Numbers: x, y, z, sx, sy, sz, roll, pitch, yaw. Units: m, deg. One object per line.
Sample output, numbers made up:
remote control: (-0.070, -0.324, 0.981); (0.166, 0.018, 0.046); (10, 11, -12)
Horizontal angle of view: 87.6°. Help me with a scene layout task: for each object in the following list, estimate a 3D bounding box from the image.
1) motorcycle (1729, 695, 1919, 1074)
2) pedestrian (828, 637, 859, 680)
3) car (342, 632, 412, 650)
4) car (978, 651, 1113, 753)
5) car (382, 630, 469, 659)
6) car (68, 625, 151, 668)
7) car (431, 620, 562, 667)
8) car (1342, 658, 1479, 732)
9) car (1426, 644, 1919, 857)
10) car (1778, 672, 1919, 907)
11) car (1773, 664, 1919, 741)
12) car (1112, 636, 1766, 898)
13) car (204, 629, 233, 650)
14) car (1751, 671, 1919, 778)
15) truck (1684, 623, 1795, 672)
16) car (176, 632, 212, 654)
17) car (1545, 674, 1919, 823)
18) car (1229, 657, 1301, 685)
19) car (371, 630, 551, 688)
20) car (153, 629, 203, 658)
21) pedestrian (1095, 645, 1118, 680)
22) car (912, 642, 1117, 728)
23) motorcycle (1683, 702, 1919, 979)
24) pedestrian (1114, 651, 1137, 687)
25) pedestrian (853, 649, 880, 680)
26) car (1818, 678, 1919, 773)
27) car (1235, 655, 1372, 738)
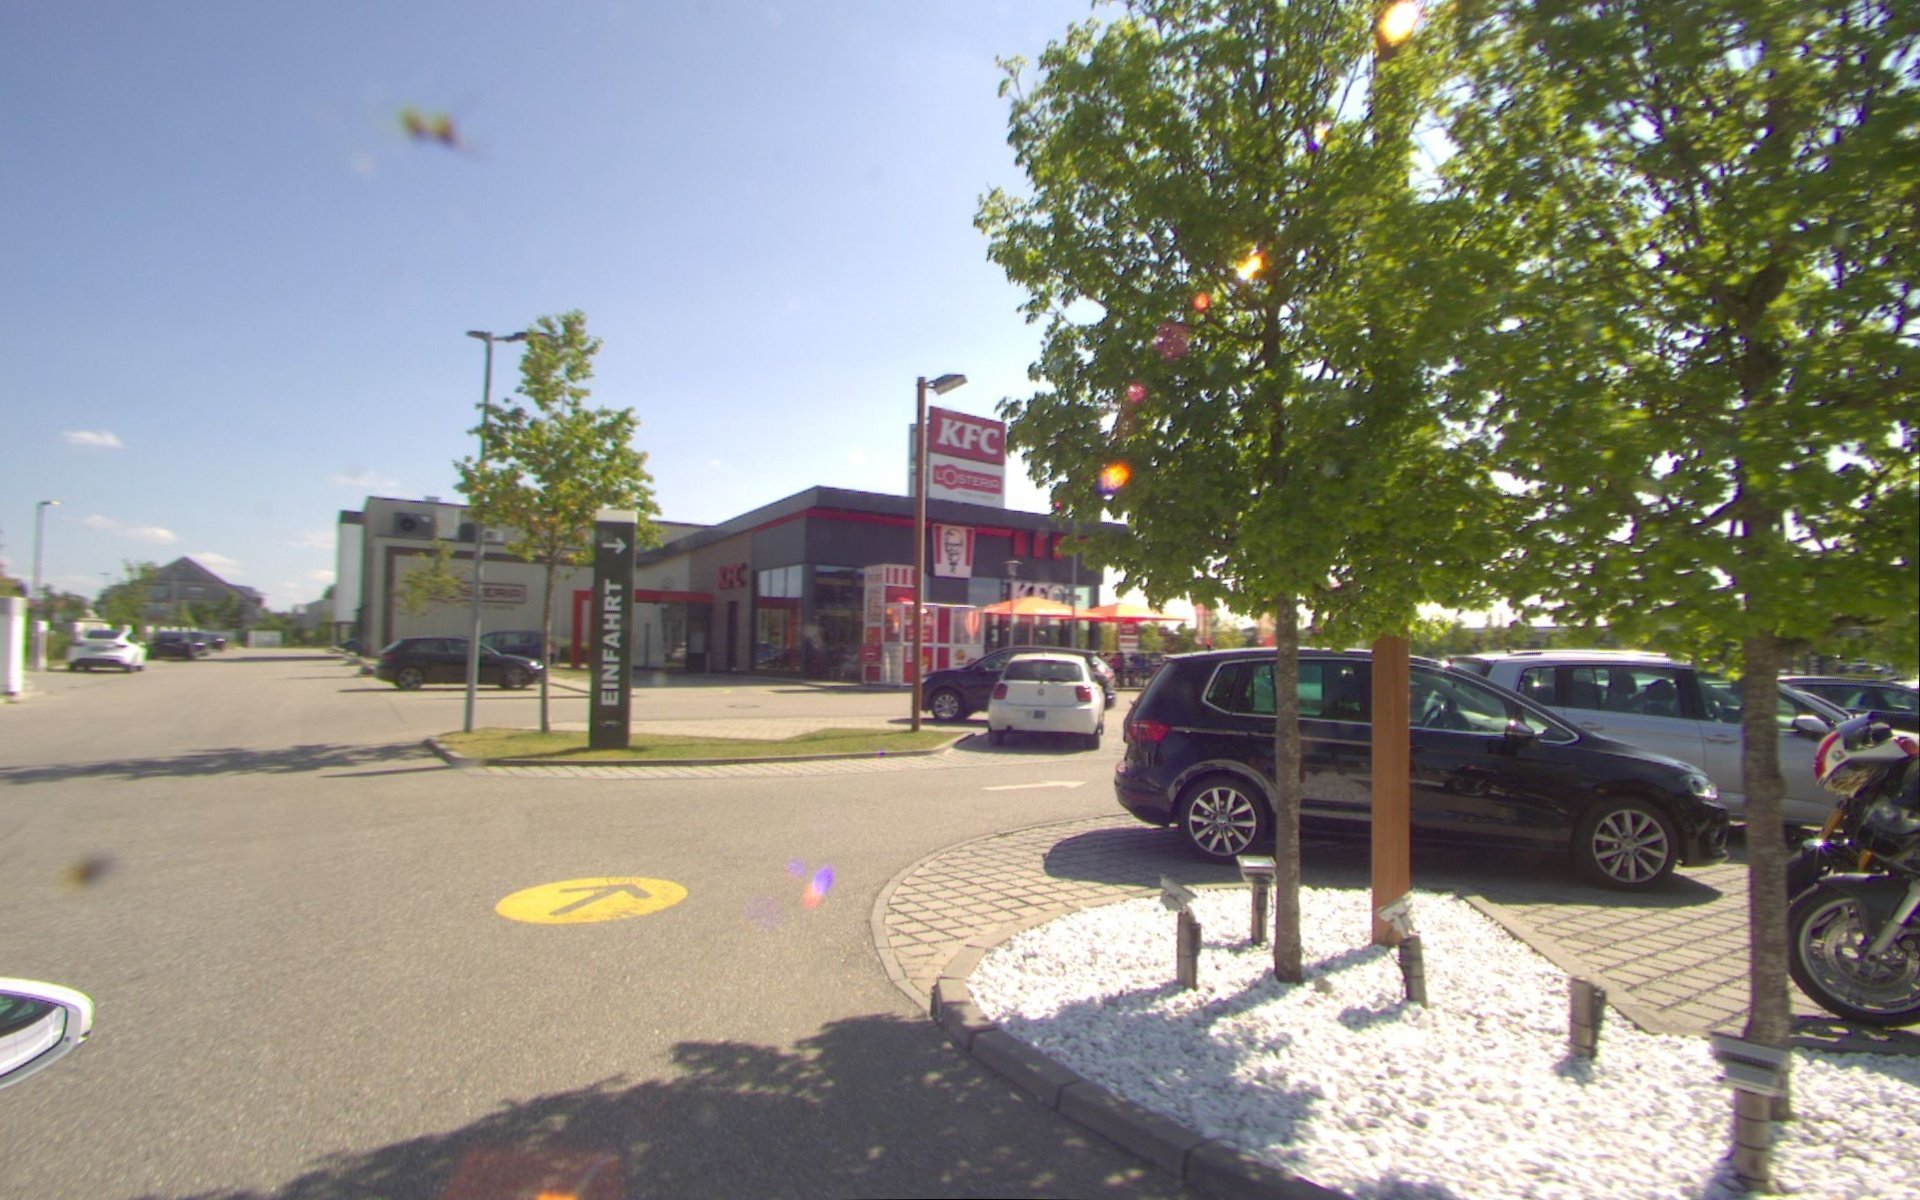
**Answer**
motorcycle: (4.459, 1.068, 3.777); (2.209, 1.266, 1.072); (3, -3, 8)
pedestrian: (-4.026, 2.031, 34.612); (0.790, 1.453, 0.767); (2, -2, -36)
car: (-39.533, 2.770, 67.910); (3.951, 1.171, 1.987); (3, -2, -35)
car: (1.573, 1.613, 16.938); (1.809, 1.443, 4.187); (1, -3, 11)
car: (-29.238, 2.452, 54.792); (3.954, 1.438, 1.639); (4, -3, -37)
car: (-33.345, 1.820, 39.366); (1.926, 1.588, 3.977); (3, -3, -33)
car: (-17.946, 1.708, 38.876); (4.336, 1.706, 1.629); (4, -3, -39)
car: (9.821, 2.024, 22.134); (1.786, 1.420, 4.001); (1, -3, 10)
car: (6.803, 1.323, 9.502); (3.990, 1.660, 1.748); (1, -2, 12)
car: (8.476, 1.341, 6.455); (4.575, 1.465, 1.836); (2, -2, 13)
car: (19.303, 2.093, 20.430); (3.831, 1.444, 1.706); (1, -2, 14)
car: (3.298, 1.127, 7.710); (4.111, 1.556, 1.896); (1, -2, 11)
car: (-60.426, 3.204, 81.651); (1.727, 1.588, 3.973); (3, -3, -35)
car: (15.455, 1.961, 15.700); (4.334, 1.530, 1.984); (1, -2, 12)
truck: (57.881, 3.512, 74.607); (2.375, 3.394, 7.570); (1, -2, 0)
car: (-51.374, 2.872, 67.214); (1.727, 1.404, 3.973); (3, -3, -35)
car: (9.396, 1.679, 11.716); (4.004, 1.425, 1.794); (2, -2, 11)
car: (17.081, 3.990, 56.030); (3.698, 1.472, 1.681); (3, -3, -26)
car: (-13.553, 1.623, 27.303); (4.162, 1.459, 1.687); (3, -3, -35)
car: (-44.793, 2.471, 57.420); (1.926, 1.588, 3.975); (3, -3, -34)
pedestrian: (5.429, 2.314, 37.072); (0.587, 1.285, 0.683); (0, -2, 31)
car: (1.174, 1.728, 20.895); (4.010, 1.596, 1.757); (1, -2, 13)
motorcycle: (5.080, 1.214, 5.126); (2.099, 1.246, 0.821); (2, -3, 5)
pedestrian: (6.068, 2.534, 36.730); (0.587, 1.285, 0.683); (0, -2, 31)
pedestrian: (-3.273, 2.253, 35.003); (0.709, 1.085, 0.624); (2, -2, -37)
car: (18.120, 2.227, 17.486); (4.334, 1.530, 1.984); (1, -2, 12)
car: (7.104, 1.950, 21.179); (1.877, 1.490, 4.474); (1, -3, 8)
